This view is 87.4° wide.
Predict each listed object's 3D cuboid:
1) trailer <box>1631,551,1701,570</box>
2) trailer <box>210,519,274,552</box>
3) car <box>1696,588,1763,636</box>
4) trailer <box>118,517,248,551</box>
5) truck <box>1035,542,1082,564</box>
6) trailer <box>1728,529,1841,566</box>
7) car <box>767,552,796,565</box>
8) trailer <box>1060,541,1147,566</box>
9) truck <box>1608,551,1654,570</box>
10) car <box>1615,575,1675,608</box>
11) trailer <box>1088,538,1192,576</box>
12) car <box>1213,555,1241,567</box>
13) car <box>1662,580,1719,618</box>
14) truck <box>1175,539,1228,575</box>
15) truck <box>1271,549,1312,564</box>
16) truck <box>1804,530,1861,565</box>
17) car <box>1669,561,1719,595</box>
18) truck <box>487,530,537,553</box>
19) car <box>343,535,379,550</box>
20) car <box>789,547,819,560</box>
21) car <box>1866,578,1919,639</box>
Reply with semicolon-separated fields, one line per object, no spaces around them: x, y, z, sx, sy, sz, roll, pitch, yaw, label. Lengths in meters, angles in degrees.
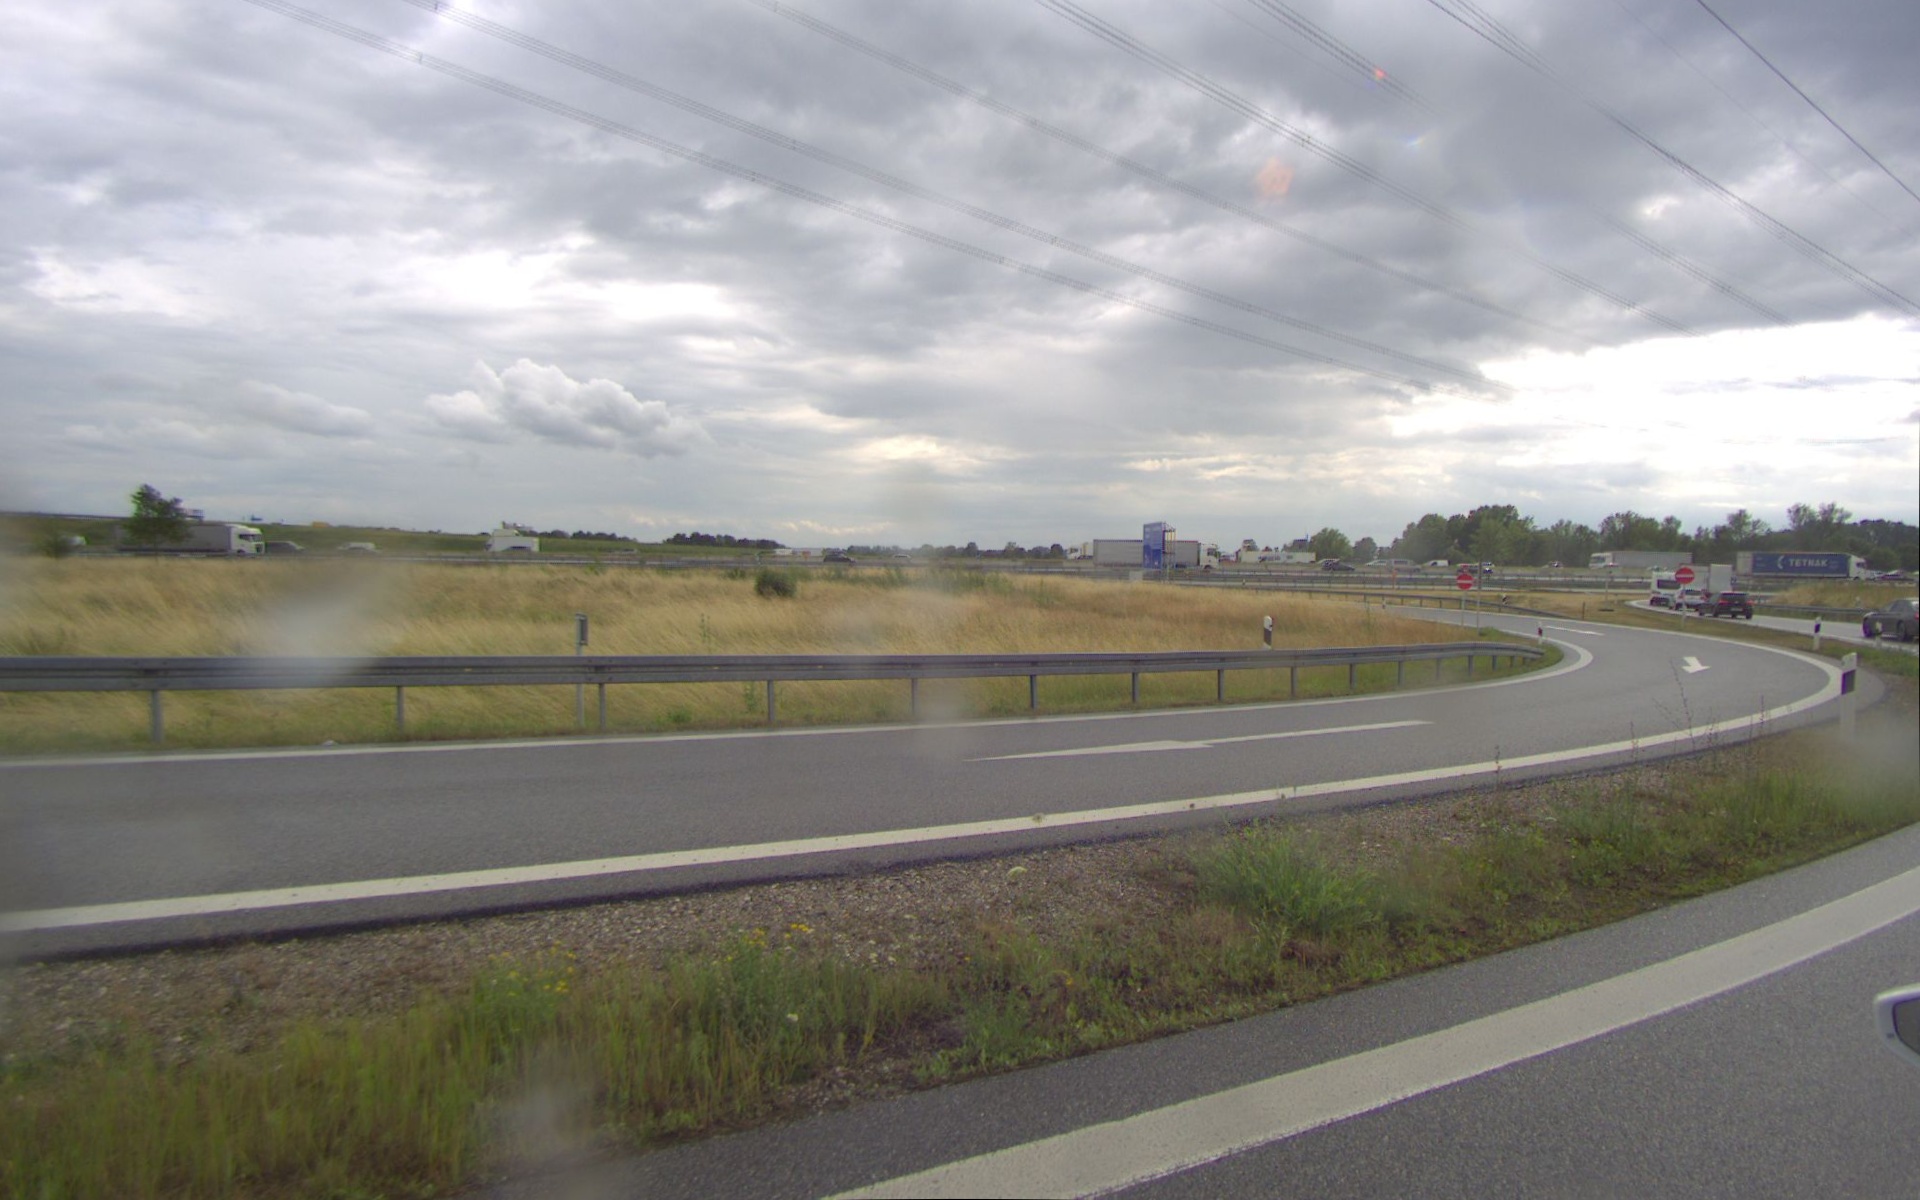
119.091;-6.653;169.491;10.282;3.068;2.318;-1;3;-3;trailer
-89.908;-8.068;125.880;5.785;3.835;2.846;2;3;-4;trailer
43.165;0.596;56.460;2.317;2.338;5.116;1;4;30;car
-96.937;-8.214;125.446;13.397;3.834;2.857;1;3;-4;trailer
16.141;-7.722;165.242;7.236;3.589;2.823;1;3;-3;truck
111.489;-7.114;135.893;13.043;4.699;3.056;-1;3;-3;trailer
-26.948;-6.299;151.776;3.921;1.874;1.892;-1;3;0;car
23.585;-7.636;165.619;13.828;3.721;2.857;1;3;-3;trailer
113.020;-6.586;169.176;6.343;3.068;2.318;-1;3;-3;truck
54.086;-0.700;79.460;2.311;2.338;5.129;0;3;15;car
23.692;-5.697;132.641;13.128;4.680;3.482;-1;3;-1;trailer
42.022;-6.112;157.951;3.921;1.874;1.892;-1;3;0;car
49.564;-0.124;68.286;2.315;2.338;5.120;1;4;27;car
31.845;-5.724;132.721;6.144;4.628;3.349;-1;3;0;truck
55.033;-7.236;167.026;6.187;2.534;1.999;-1;3;-2;truck
118.240;-7.123;136.195;4.973;4.541;3.077;-1;3;-1;truck
70.230;-2.143;96.068;3.100;2.992;7.169;2;4;42;car
-71.706;-9.426;160.954;6.970;3.518;1.999;-1;3;-2;truck
-88.442;-8.473;148.331;3.921;2.041;1.999;-1;3;0;car
-25.317;-7.596;163.251;4.665;2.041;1.998;-1;3;-5;car
34.970;0.277;36.359;2.090;2.045;5.521;3;3;31;car
